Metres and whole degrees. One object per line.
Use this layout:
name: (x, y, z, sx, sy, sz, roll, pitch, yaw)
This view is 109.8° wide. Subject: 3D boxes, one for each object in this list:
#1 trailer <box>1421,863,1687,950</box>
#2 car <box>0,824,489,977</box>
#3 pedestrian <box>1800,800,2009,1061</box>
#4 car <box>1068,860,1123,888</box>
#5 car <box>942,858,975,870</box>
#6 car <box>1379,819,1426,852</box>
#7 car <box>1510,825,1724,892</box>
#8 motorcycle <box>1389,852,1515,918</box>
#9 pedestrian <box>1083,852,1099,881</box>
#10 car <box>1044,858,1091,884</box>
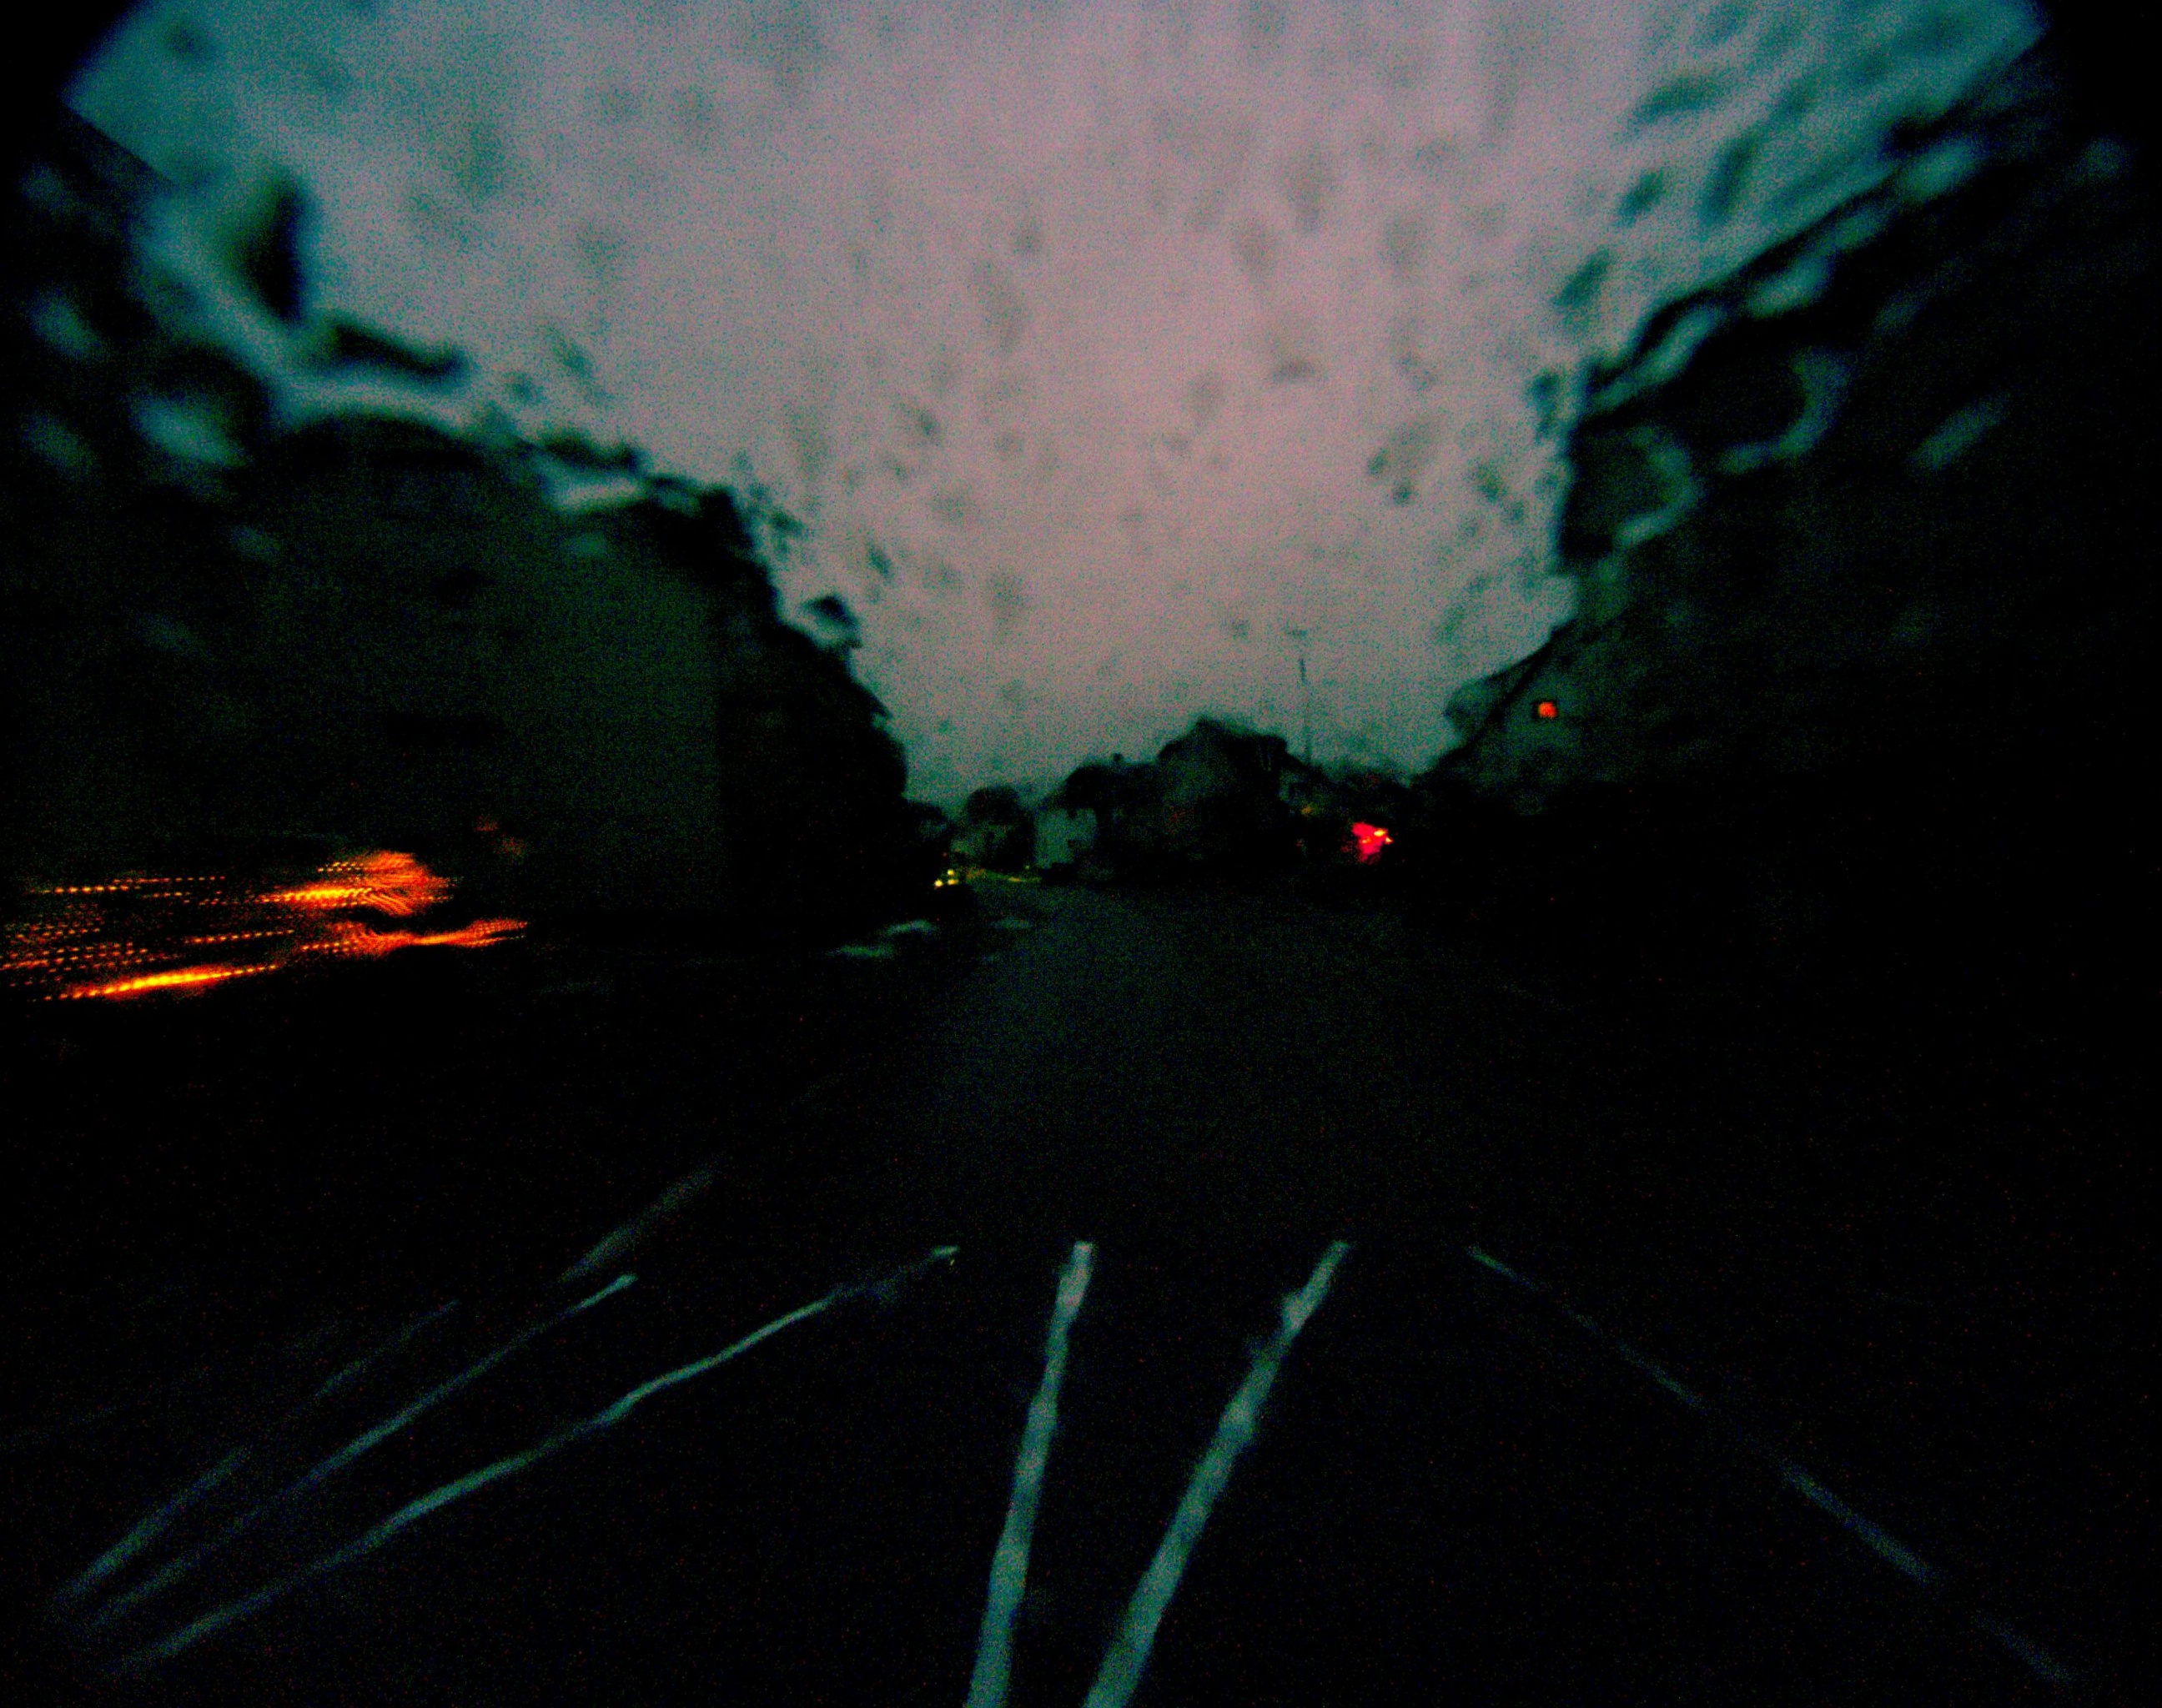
trailer: (7.855, 0.785, 13.340, 2.062, 1.162, 4.871, -2, 0, 7)
car: (-10.672, 0.577, 9.791, 4.266, 1.638, 2.062, 3, -1, -10)
pedestrian: (5.904, 0.511, 5.495, 0.599, 1.723, 0.812, -4, 2, 3)
car: (0.755, 1.102, 42.624, 1.755, 1.380, 4.140, -4, 0, -18)
car: (-17.311, 1.409, 107.387, 4.226, 1.417, 2.003, -3, 2, 36)
car: (18.558, -1.099, 43.714, 1.995, 1.622, 4.005, -3, 2, 29)
car: (13.430, 0.107, 19.318, 3.993, 1.408, 1.919, -3, 1, 15)
motorcycle: (8.033, 0.692, 16.496, 2.233, 1.291, 1.059, -4, 1, 37)
pedestrian: (0.615, 0.775, 47.781, 0.708, 1.769, 0.811, -4, 2, -15)
car: (-0.909, 1.062, 48.139, 1.830, 1.432, 4.062, -4, 0, -17)
